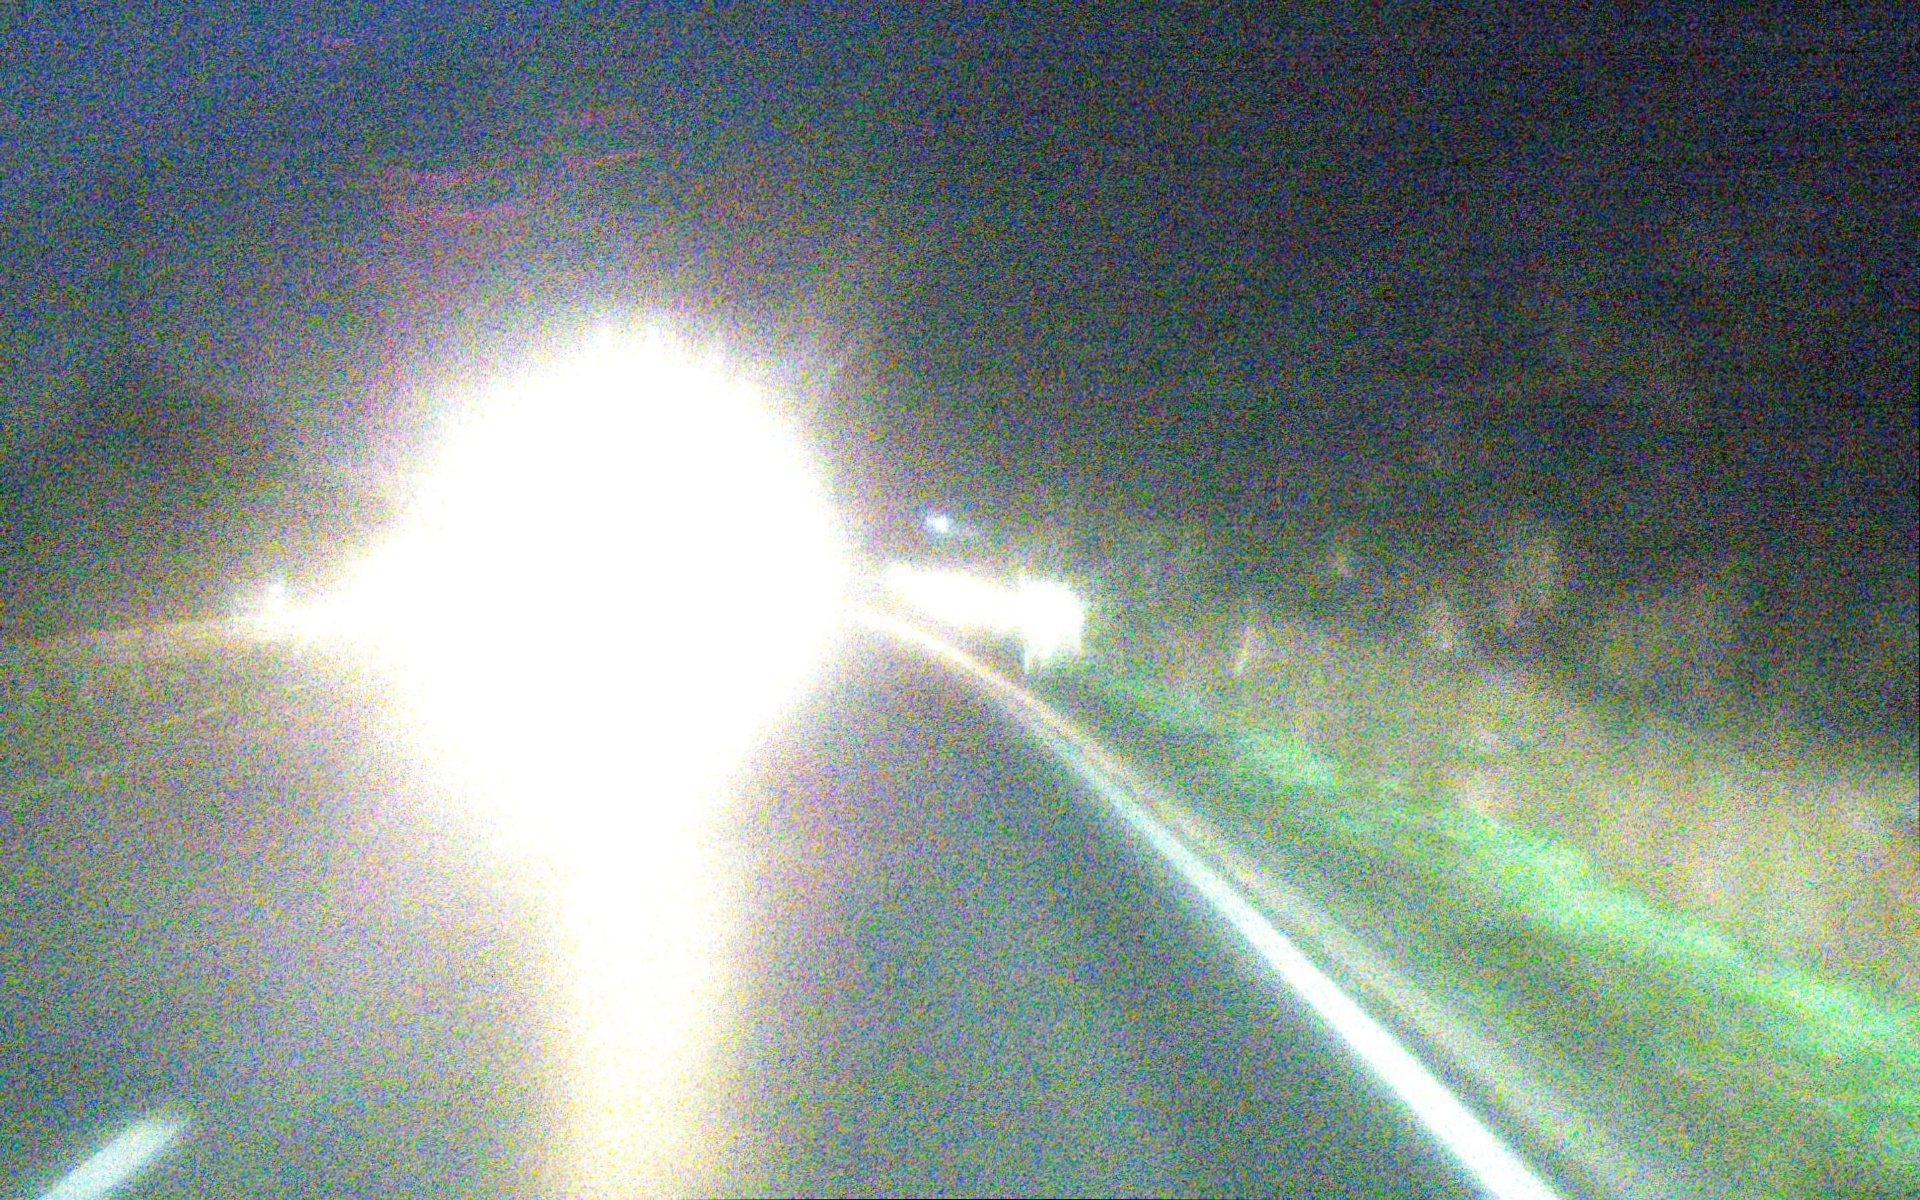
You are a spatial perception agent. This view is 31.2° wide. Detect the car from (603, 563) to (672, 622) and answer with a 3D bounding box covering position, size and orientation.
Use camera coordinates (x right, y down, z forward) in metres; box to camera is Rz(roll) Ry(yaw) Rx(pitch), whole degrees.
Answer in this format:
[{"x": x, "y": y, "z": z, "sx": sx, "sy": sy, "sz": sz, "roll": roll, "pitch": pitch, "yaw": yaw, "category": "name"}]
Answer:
[{"x": -9.147, "y": -0.231, "z": 97.732, "sx": 1.920, "sy": 1.640, "sz": 4.026, "roll": 0, "pitch": 1, "yaw": -5, "category": "car"}]
